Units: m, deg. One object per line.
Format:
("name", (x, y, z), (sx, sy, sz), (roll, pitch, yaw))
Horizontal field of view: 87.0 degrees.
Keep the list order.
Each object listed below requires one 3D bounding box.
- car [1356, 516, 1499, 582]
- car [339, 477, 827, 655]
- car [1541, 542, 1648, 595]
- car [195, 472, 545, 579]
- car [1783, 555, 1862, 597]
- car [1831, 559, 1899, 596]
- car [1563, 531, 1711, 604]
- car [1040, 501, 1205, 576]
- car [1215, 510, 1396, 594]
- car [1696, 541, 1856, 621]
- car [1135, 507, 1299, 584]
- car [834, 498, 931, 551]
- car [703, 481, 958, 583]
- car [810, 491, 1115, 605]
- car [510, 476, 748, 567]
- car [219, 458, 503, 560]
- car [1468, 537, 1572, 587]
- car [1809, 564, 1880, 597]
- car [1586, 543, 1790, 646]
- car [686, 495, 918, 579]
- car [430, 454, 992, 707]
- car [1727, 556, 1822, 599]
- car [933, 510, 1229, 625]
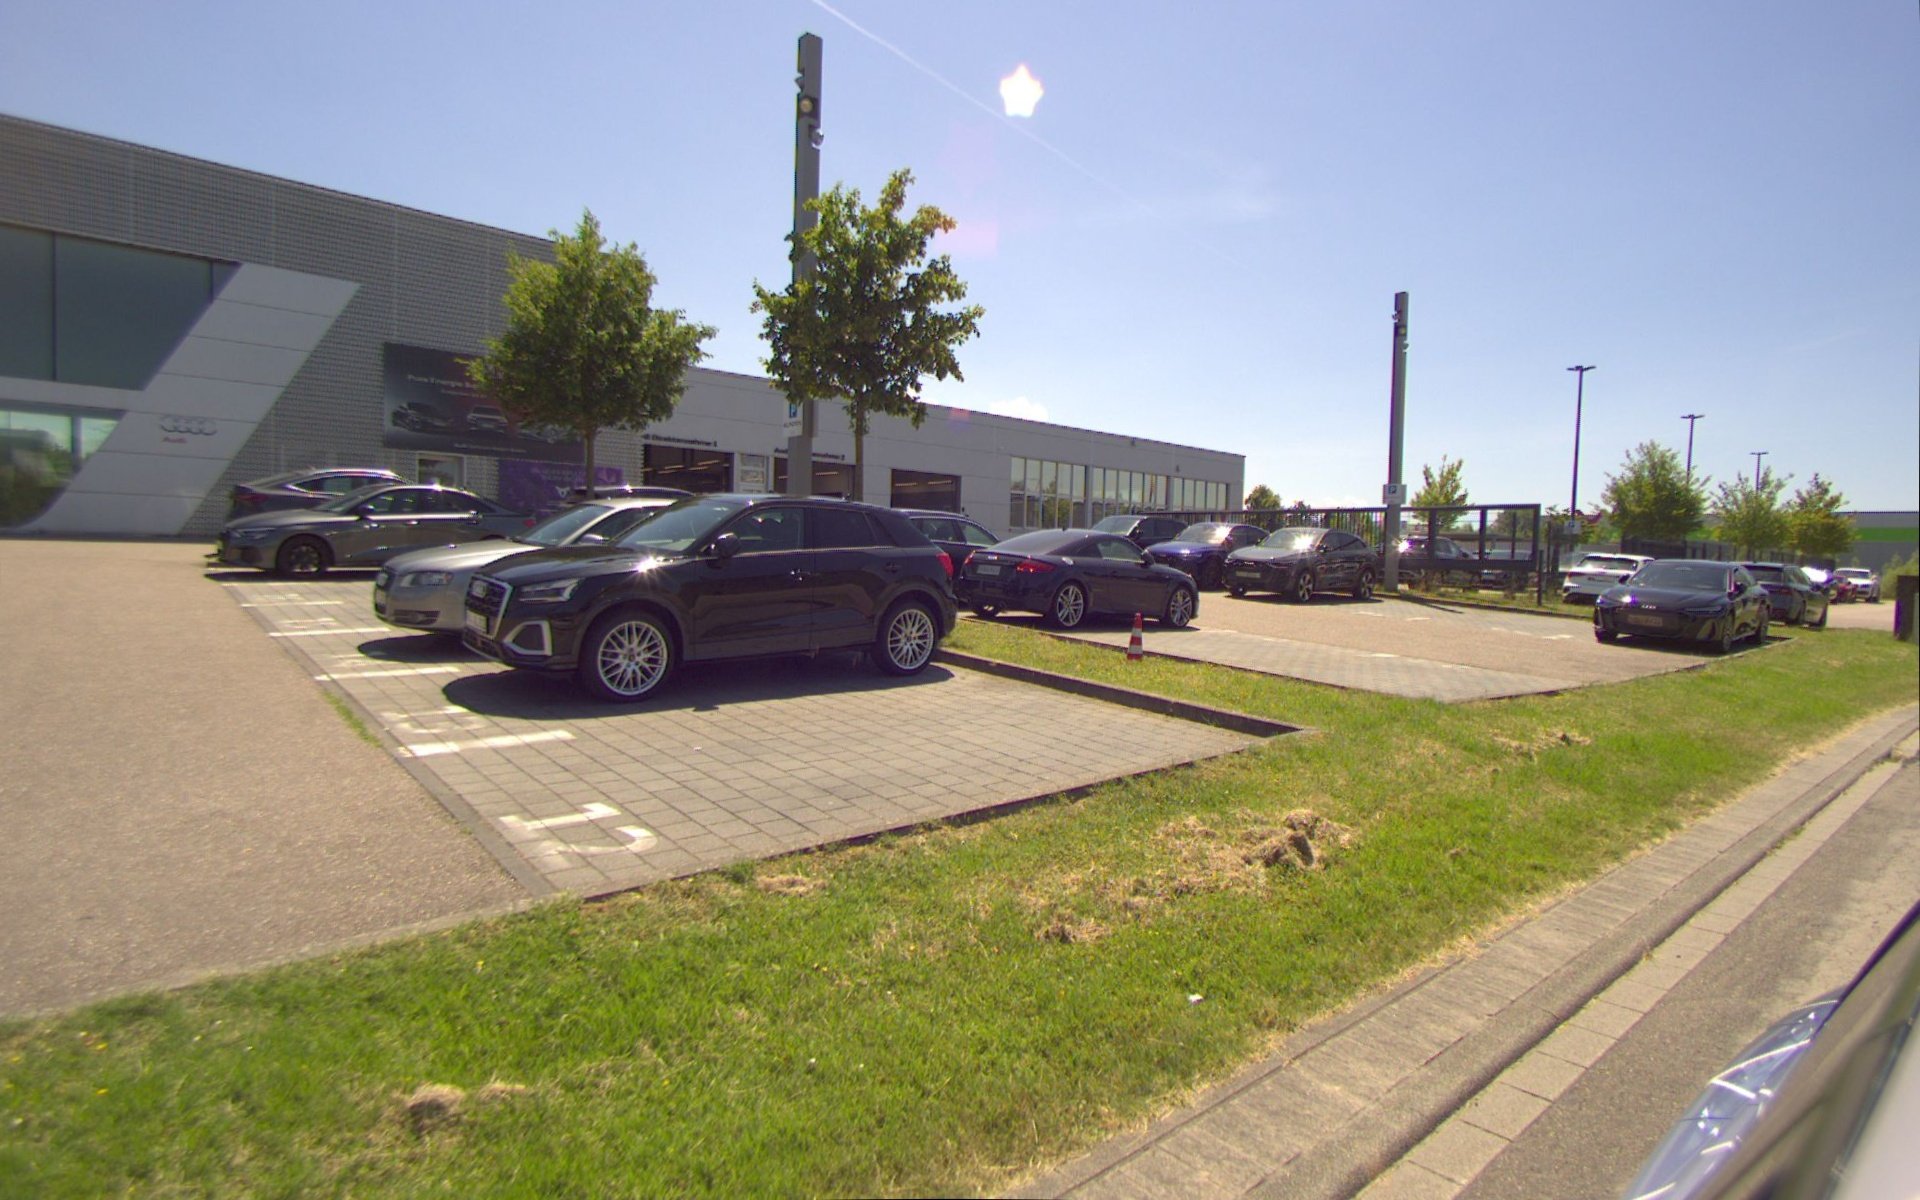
("car", (13.151, -1.406, 28.358), (4.548, 1.649, 1.965), (-1, 5, -43))
("car", (-3.635, -0.378, 10.178), (4.156, 1.382, 1.966), (-1, 7, -43))
("car", (22.219, -1.096, 35.374), (4.548, 1.649, 1.965), (-1, 5, -43))
("car", (-9.067, -1.123, 15.758), (4.391, 1.382, 1.966), (-1, 7, -43))
("car", (36.877, -1.040, 43.245), (4.328, 1.585, 1.779), (-1, 5, -40))
("car", (45.433, -1.151, 50.785), (4.318, 1.666, 1.824), (-1, 5, -40))
("car", (16.560, -0.782, 24.658), (4.861, 1.546, 1.823), (-1, 5, -43))
("car", (4.496, -1.655, 27.669), (4.548, 1.762, 1.966), (-1, 7, -43))
("car", (8.069, -1.080, 23.389), (4.705, 1.662, 1.828), (-1, 7, -43))
("car", (17.999, -0.449, 22.246), (4.861, 1.485, 1.965), (-1, 5, -43))
("car", (6.533, -1.343, 25.486), (4.342, 1.714, 1.828), (-1, 7, -43))
("car", (-3.137, -3.029, 40.140), (1.930, 1.762, 4.260), (1, 6, -34))
("car", (-2.281, -1.201, 18.460), (4.216, 1.632, 1.965), (-1, 5, -43))
("car", (0.176, -0.833, 16.552), (4.921, 1.571, 1.965), (-1, 5, -43))
("car", (-7.291, -1.709, 22.594), (4.649, 1.759, 1.965), (-1, 5, -43))
("car", (-11.191, -1.676, 19.037), (4.348, 1.610, 1.967), (0, 6, -40))
("car", (20.861, -1.406, 37.648), (4.548, 1.649, 1.965), (-1, 5, -43))
("car", (41.267, -0.914, 47.182), (4.098, 1.373, 1.780), (-1, 5, -40))
("car", (12.943, -0.149, 17.855), (4.939, 1.471, 1.883), (-1, 6, -43))
("car", (-3.155, -1.252, 20.693), (4.298, 1.494, 1.965), (-1, 5, -43))
("car", (-1.911, -0.242, 8.498), (4.156, 1.589, 1.891), (-1, 7, -43))
("car", (30.002, -0.833, 37.234), (4.491, 1.418, 1.780), (-1, 5, -39))
("car", (1.871, -0.463, 14.799), (4.238, 1.391, 1.965), (0, 5, -43))
